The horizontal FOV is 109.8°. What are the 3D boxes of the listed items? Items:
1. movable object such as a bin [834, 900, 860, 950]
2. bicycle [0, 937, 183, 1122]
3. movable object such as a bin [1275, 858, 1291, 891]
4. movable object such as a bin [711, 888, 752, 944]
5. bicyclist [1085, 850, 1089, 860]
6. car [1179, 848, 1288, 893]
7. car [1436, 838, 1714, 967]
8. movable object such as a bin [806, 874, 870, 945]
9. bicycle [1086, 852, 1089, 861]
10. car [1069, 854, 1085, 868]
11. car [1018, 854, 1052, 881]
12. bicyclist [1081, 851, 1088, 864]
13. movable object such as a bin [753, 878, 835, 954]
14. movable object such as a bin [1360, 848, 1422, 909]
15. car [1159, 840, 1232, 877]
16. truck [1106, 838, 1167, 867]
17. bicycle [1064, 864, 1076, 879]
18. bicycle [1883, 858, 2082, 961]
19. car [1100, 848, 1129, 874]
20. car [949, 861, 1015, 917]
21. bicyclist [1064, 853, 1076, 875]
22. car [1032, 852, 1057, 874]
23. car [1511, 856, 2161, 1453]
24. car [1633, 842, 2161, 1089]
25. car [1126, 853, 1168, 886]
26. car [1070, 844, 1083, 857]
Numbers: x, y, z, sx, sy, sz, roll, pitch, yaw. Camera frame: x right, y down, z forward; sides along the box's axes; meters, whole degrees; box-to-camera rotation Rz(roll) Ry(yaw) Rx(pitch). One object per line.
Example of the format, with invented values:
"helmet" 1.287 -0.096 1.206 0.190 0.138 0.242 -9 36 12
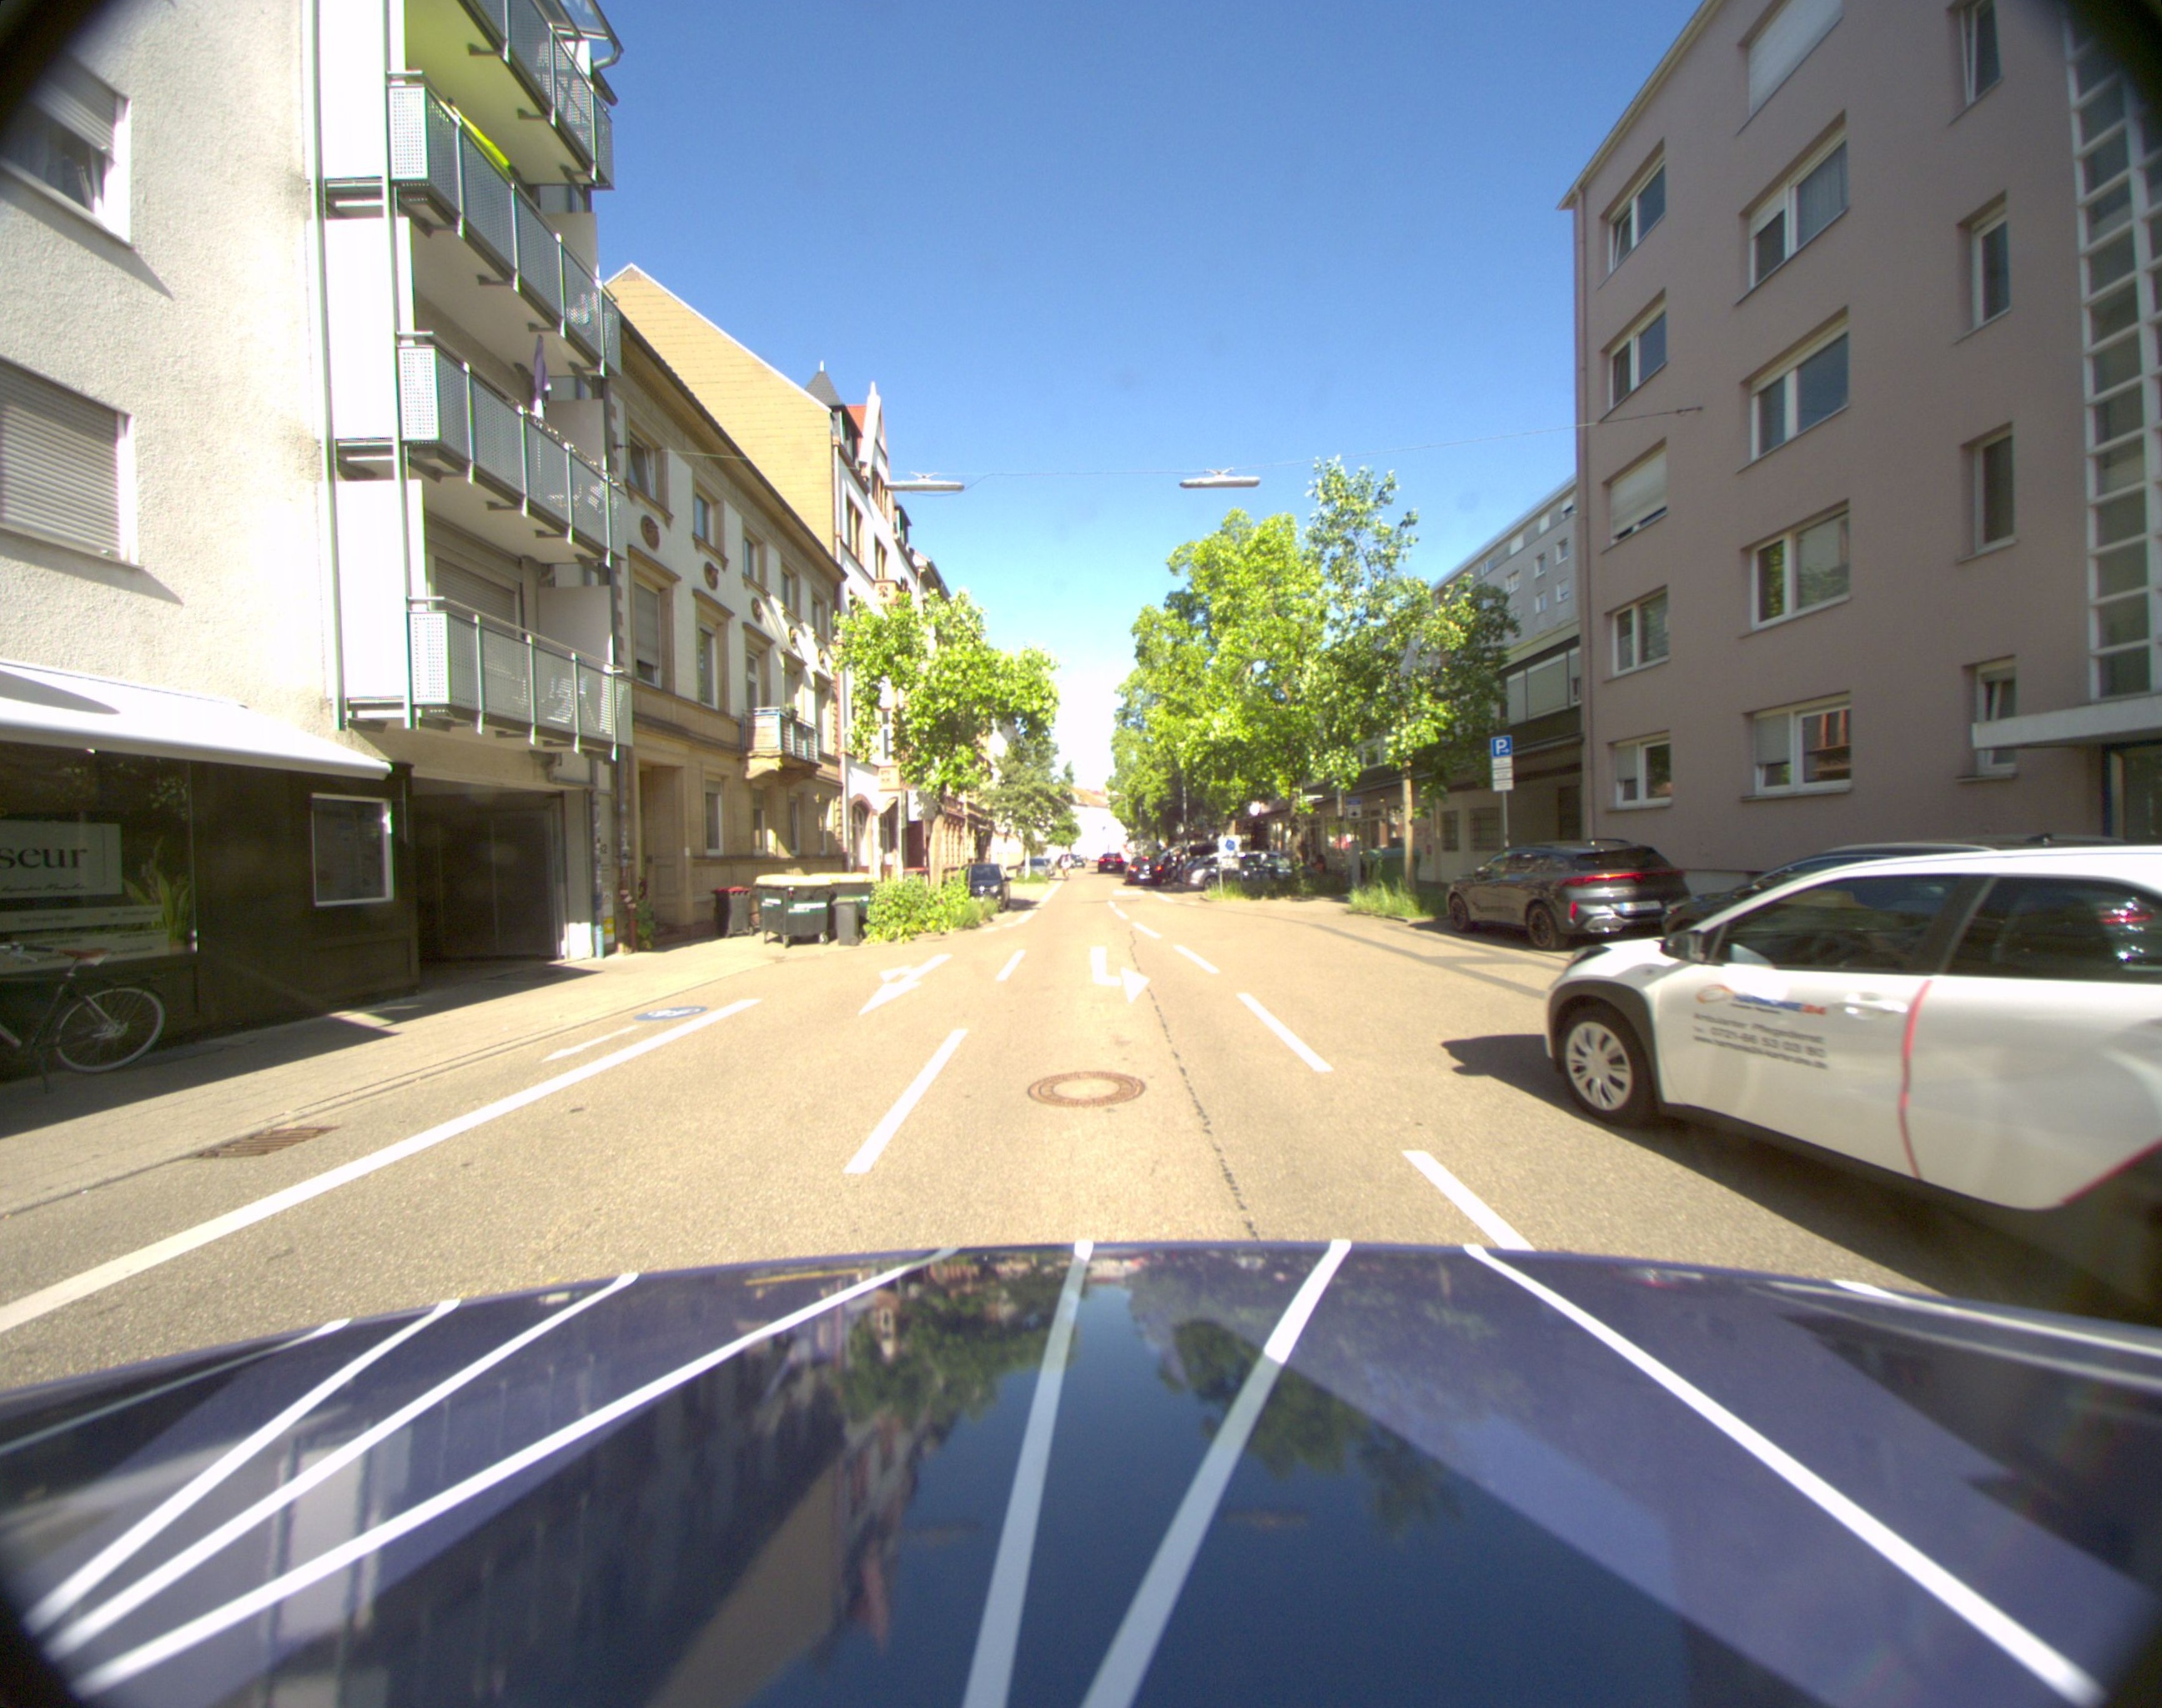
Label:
"movable object such as a bin" -4.577 1.389 14.897 0.401 0.916 0.484 0 2 -7
"bicycle" -7.745 1.288 5.454 0.402 1.171 1.792 -2 0 1
"movable object such as a bin" 7.620 0.782 28.683 0.488 1.218 0.409 -2 1 1
"movable object such as a bin" -7.318 1.278 15.901 0.615 1.075 0.568 2 3 42
"bicyclist" 0.916 0.133 115.566 0.417 1.415 0.324 -2 1 1
"car" 6.089 0.635 30.676 3.997 1.665 2.000 -2 1 1
"car" 7.590 0.644 12.264 1.821 1.583 4.141 -5 0 2
"movable object such as a bin" -5.085 1.128 15.862 0.960 1.341 1.066 -1 2 -38
"bicycle" 0.917 0.390 115.463 0.422 1.292 1.762 -2 0 0
"car" -0.414 0.747 81.423 1.653 1.447 3.290 -2 0 1
"car" -2.744 0.771 45.896 1.759 1.492 3.949 -2 0 0
"bicyclist" 0.436 0.413 93.469 0.748 1.588 0.613 -3 1 1
"movable object such as a bin" -5.588 1.166 14.785 1.212 1.318 1.052 2 3 42
"movable object such as a bin" 8.135 0.634 20.000 1.247 1.536 1.019 -2 1 5
"car" 6.707 0.264 44.784 3.997 2.020 2.000 -2 1 1
"truck" 5.215 -0.175 71.612 5.322 2.581 1.998 -2 1 -9
"bicycle" -0.681 1.054 46.897 0.612 0.876 1.813 -2 -1 -5
"bicycle" 10.761 0.612 9.162 0.391 1.070 1.650 -6 1 2
"car" 2.498 0.497 57.578 1.994 1.599 4.259 -3 3 1
"car" -2.968 1.017 23.373 1.551 1.483 3.351 -2 0 0
"bicyclist" -0.689 0.598 46.747 0.610 1.338 1.018 -2 0 -6
"car" -2.631 0.660 55.210 1.653 1.483 3.290 -2 0 0
"car" 3.718 0.814 2.978 1.770 1.528 3.785 -2 0 -3
"car" 7.520 0.704 7.010 1.821 1.499 4.245 -4 0 2
"car" 3.230 0.739 37.949 1.867 1.455 4.000 -2 0 3
"car" -0.697 -0.547 126.499 1.998 2.002 4.000 -2 0 1
